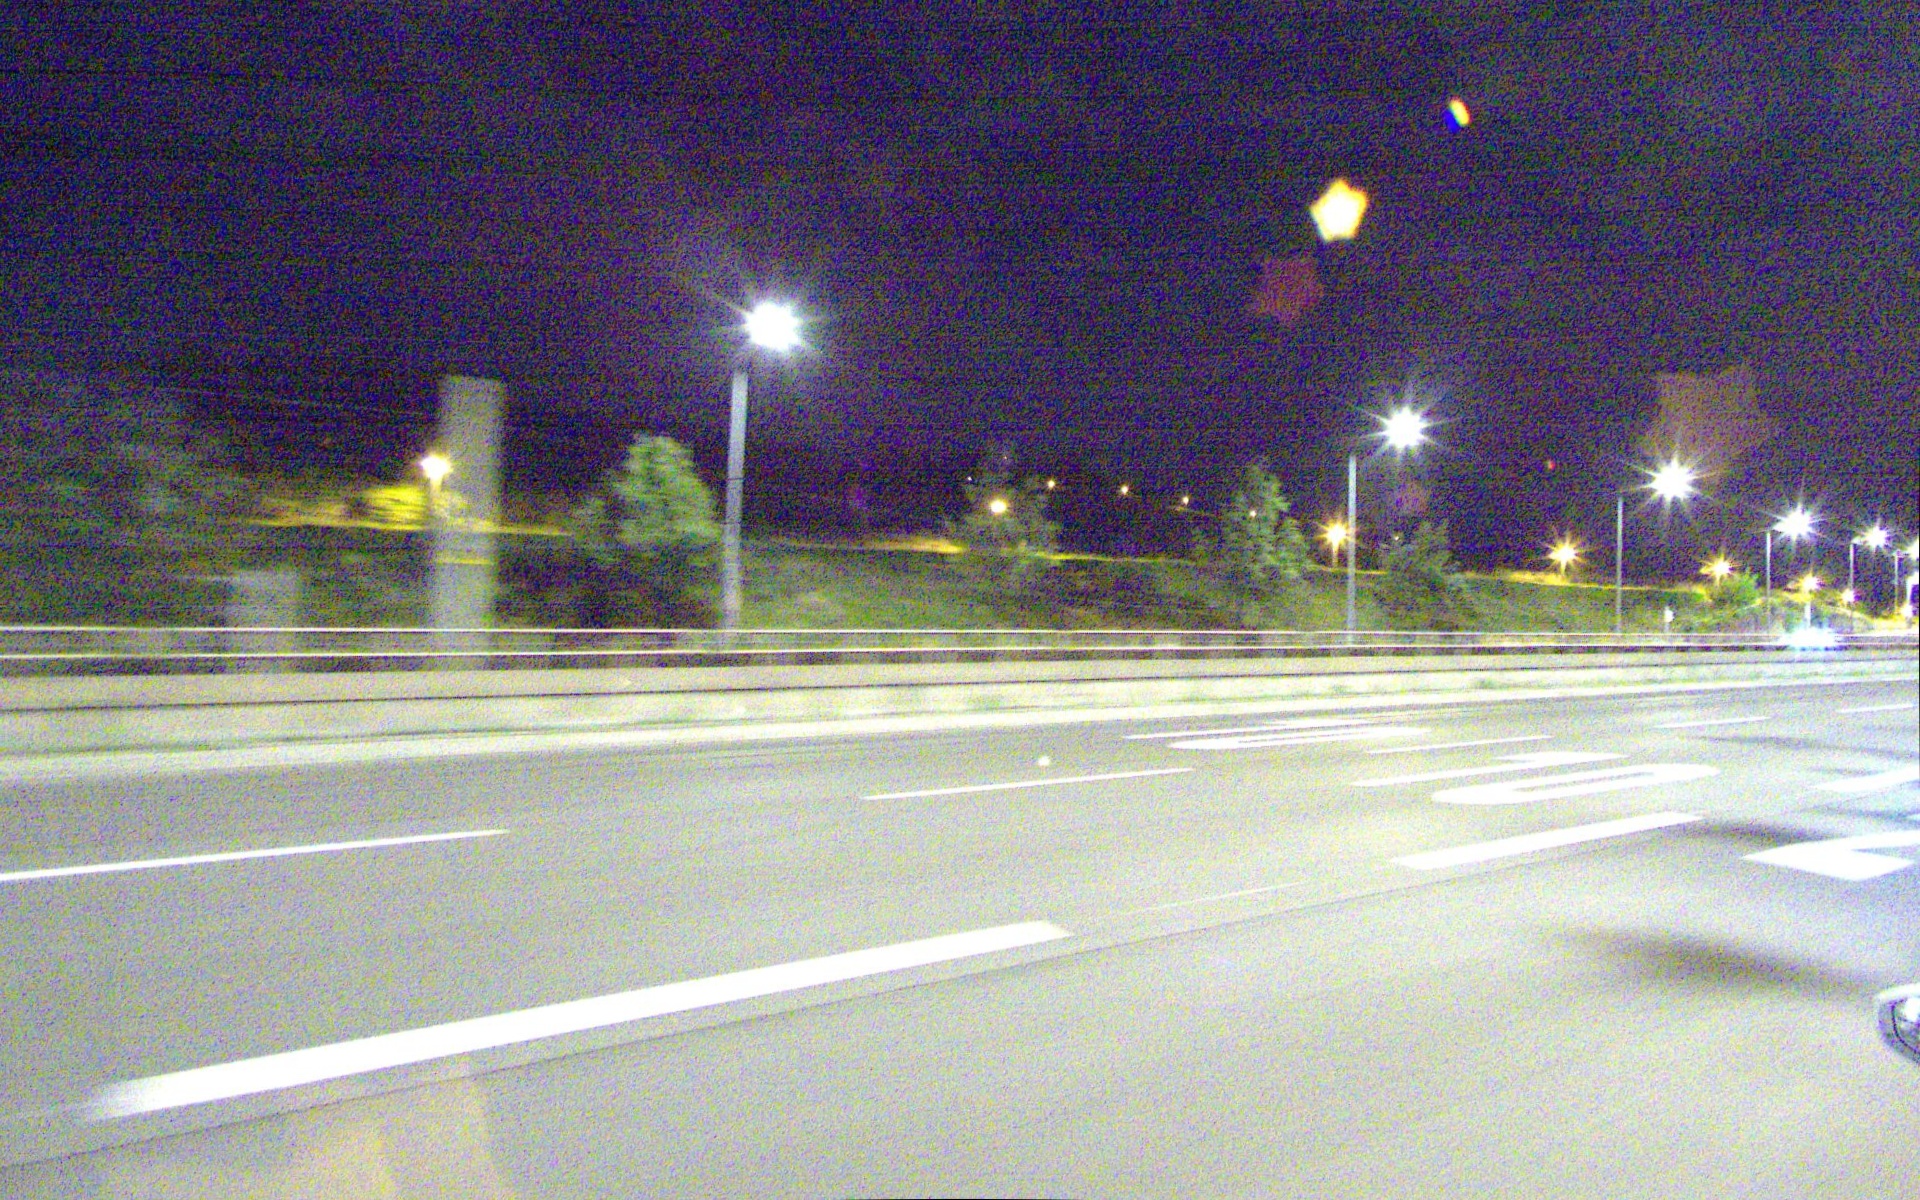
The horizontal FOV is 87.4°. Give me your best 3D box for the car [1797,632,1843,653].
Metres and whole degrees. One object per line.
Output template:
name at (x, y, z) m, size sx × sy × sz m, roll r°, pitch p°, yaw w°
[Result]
car at (67.949, 3.327, 79.376) m, size 3.635 × 1.500 × 1.618 m, roll 3°, pitch -1°, yaw -29°
